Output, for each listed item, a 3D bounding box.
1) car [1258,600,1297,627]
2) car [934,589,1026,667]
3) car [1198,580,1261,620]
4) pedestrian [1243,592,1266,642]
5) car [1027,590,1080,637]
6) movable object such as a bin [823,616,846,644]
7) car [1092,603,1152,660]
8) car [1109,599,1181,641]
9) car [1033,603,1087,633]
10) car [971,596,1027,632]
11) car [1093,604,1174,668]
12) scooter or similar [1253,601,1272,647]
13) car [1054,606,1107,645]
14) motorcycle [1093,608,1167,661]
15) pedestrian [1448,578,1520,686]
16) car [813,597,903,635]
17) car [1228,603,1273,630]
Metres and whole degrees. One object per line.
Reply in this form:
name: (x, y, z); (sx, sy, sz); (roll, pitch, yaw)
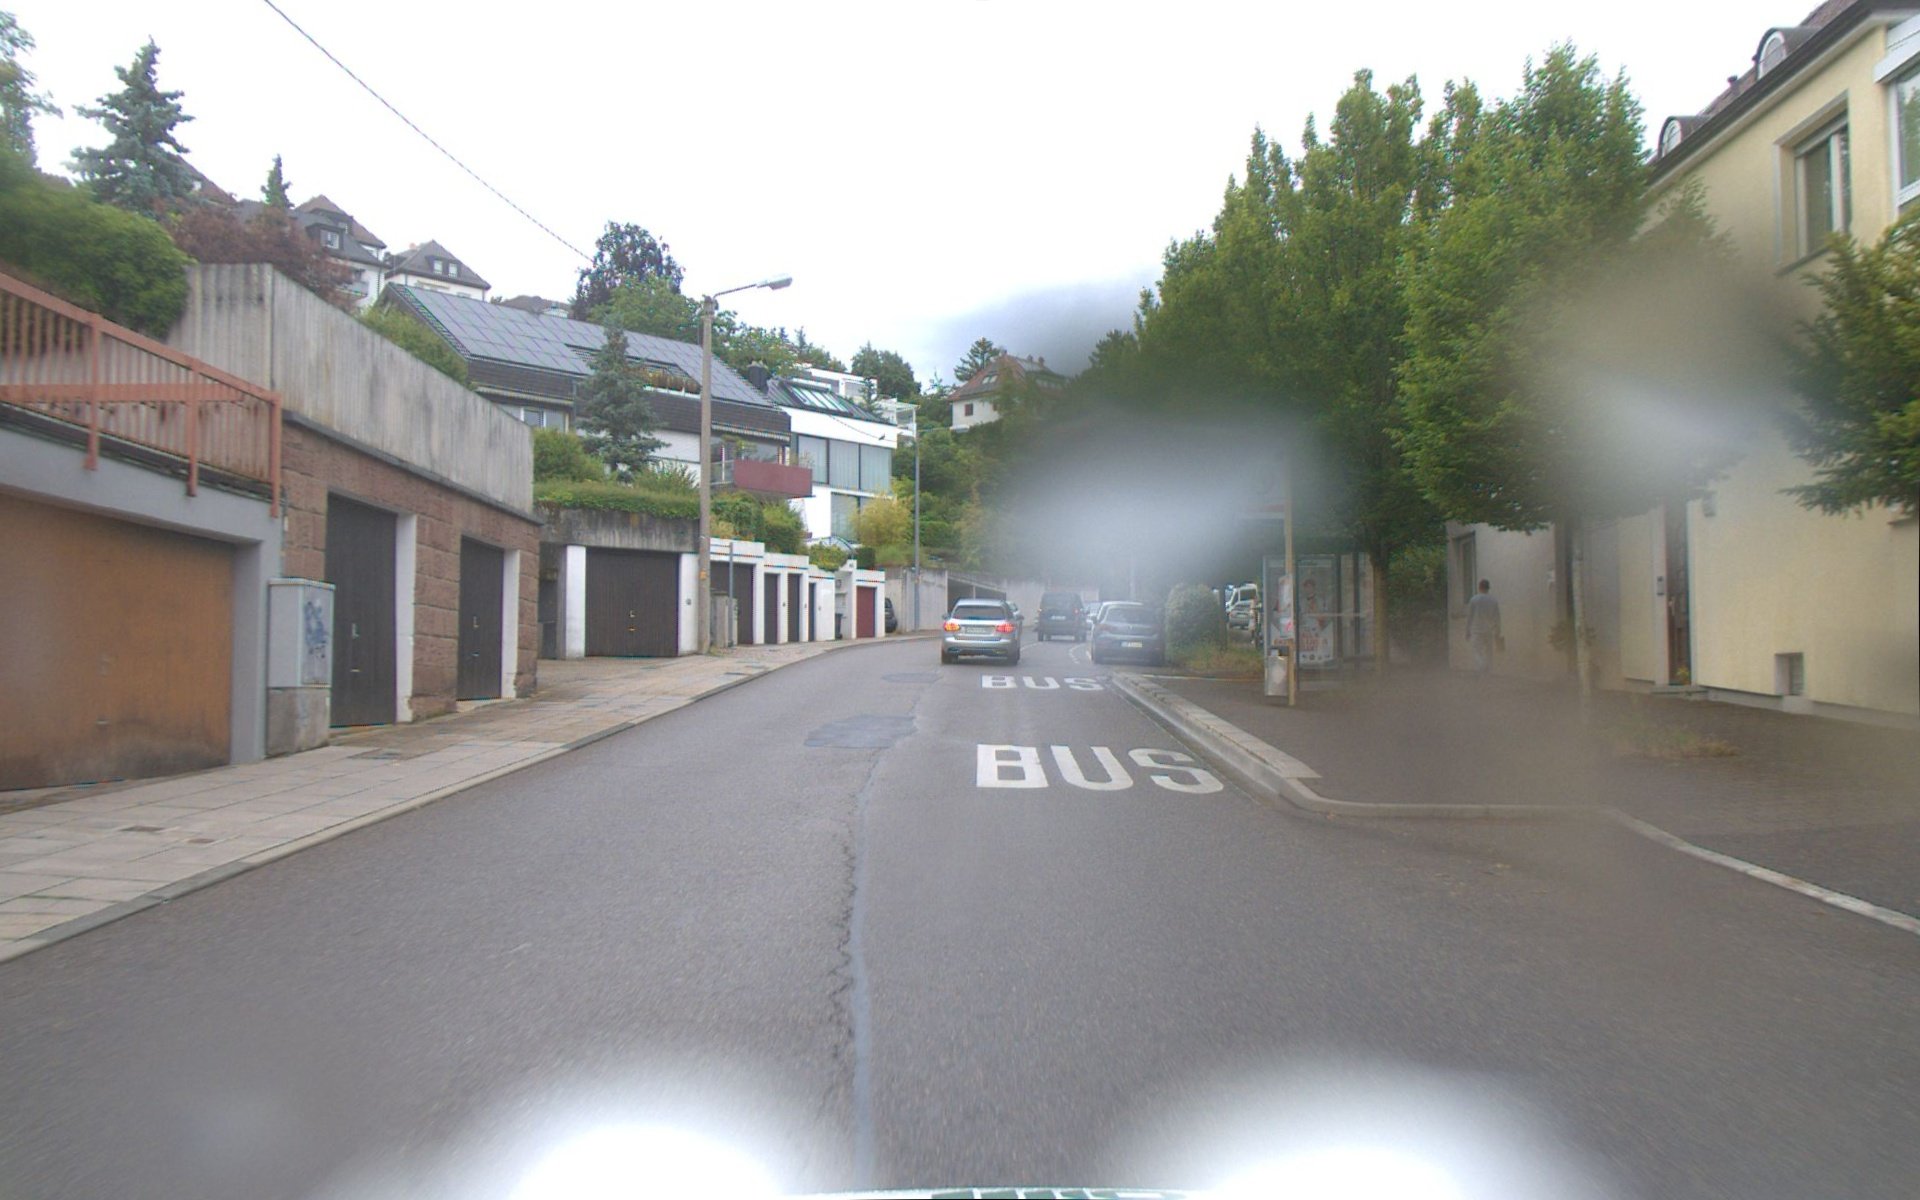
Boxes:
car: (19.429, 0.824, 101.045); (1.595, 1.590, 3.019); (0, 0, 26)
car: (0.404, 0.637, 38.961); (1.984, 1.738, 4.214); (0, 0, -2)
car: (18.670, -0.025, 114.249); (2.056, 2.594, 6.082); (-1, 0, 32)
pedestrian: (10.713, 0.609, 60.186); (0.744, 1.750, 0.903); (-3, -1, 9)
car: (3.584, 0.497, 63.433); (1.952, 1.738, 4.002); (0, 0, 3)
movable object such as a bin: (-4.538, 1.080, 59.873); (0.534, 0.980, 0.642); (0, 0, 41)
car: (4.620, 0.858, 47.358); (1.622, 1.515, 4.002); (1, 0, 5)
car: (7.751, 0.790, 68.910); (2.011, 1.685, 5.238); (0, 0, 17)
car: (5.152, 0.921, 84.824); (1.794, 1.465, 4.042); (-1, 0, 18)
car: (1.741, 0.606, 73.271); (1.592, 1.542, 3.835); (-1, 0, 15)
car: (4.270, 0.853, 41.276); (1.839, 1.441, 4.470); (0, 0, 4)
scooter or similar: (8.496, 0.661, 46.523); (0.404, 1.267, 1.176); (-1, 0, 5)
car: (5.705, 1.173, 77.712); (1.951, 1.738, 4.003); (0, 0, 12)
motorcycle: (4.571, 0.931, 44.528); (1.874, 1.353, 0.787); (1, 0, -1)
pedestrian: (8.682, 0.516, 27.444); (0.815, 1.715, 1.045); (-3, 0, 2)
car: (-4.438, 0.667, 71.703); (3.863, 1.504, 1.756); (2, 1, 43)
car: (16.616, 0.917, 94.647); (1.635, 1.496, 3.708); (1, 1, 25)
